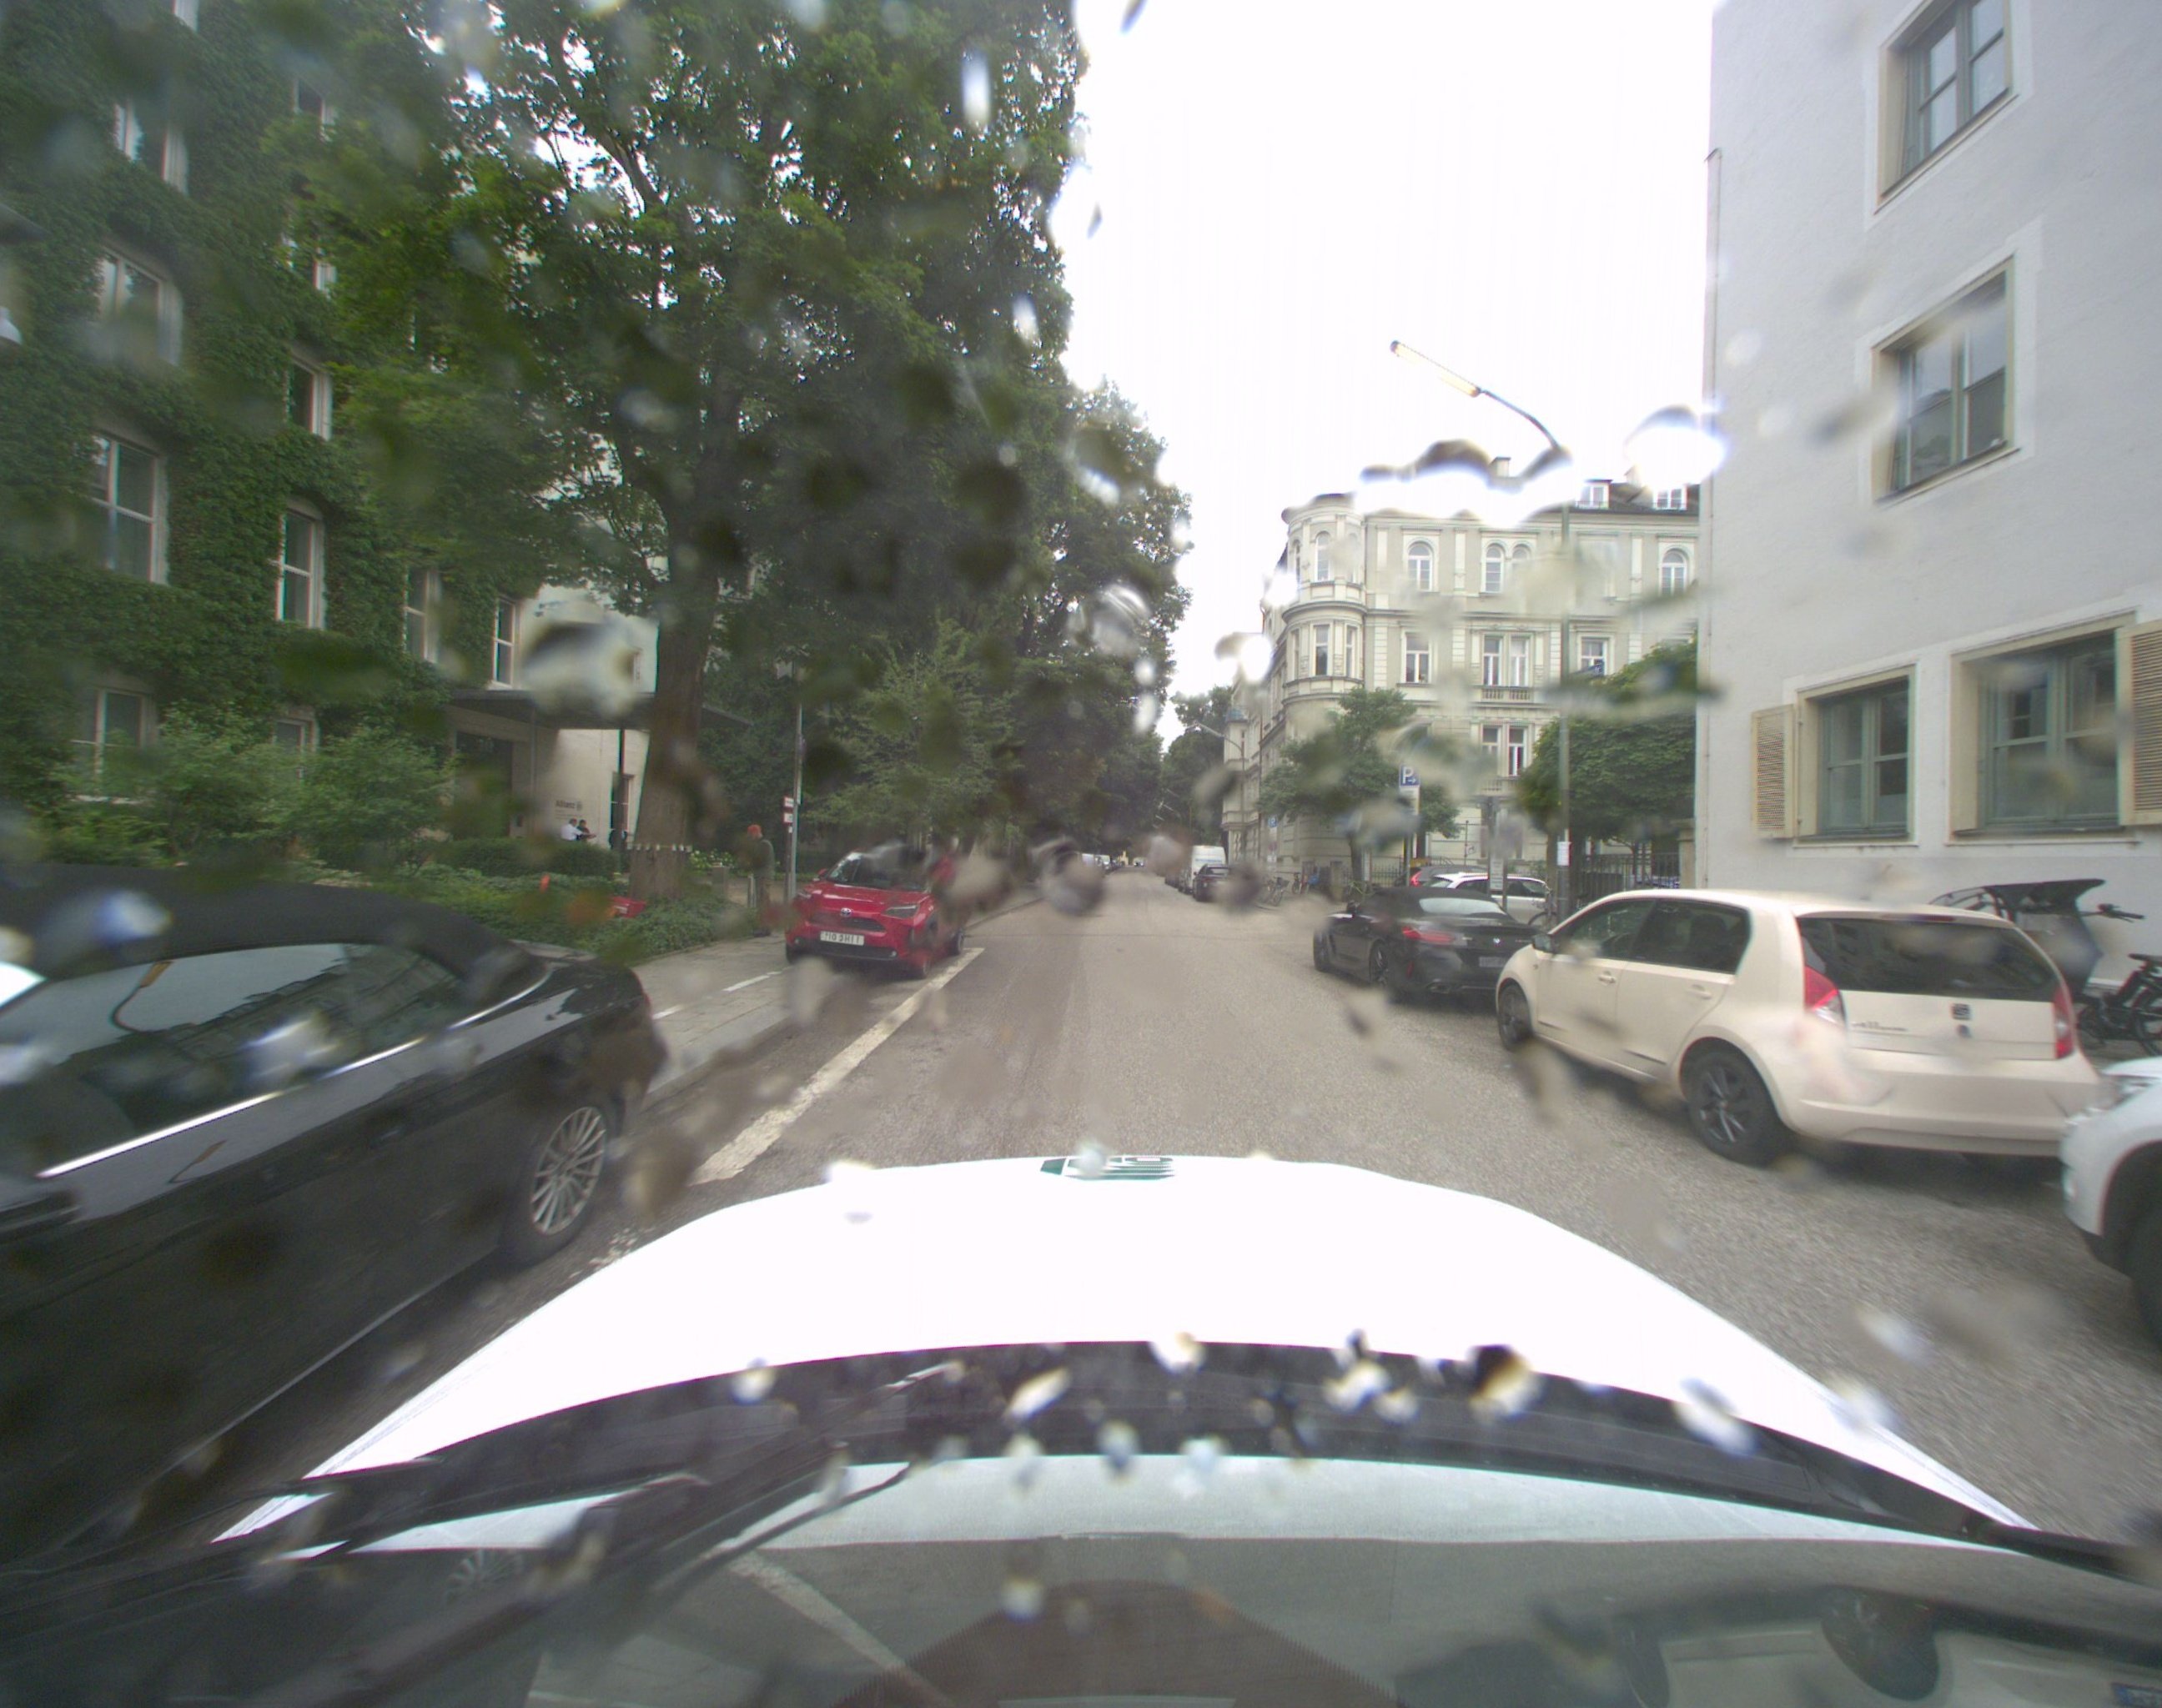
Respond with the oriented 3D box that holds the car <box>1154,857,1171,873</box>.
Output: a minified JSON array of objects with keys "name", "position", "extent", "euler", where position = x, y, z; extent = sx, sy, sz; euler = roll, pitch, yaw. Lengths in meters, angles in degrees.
[{"name":"car","position":[10.164,1.364,101.858],"extent":[1.984,2.014,4.006],"euler":[1,0,5]}]

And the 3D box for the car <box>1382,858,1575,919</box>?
[{"name":"car","position":[12.086,1.087,25.024],"extent":[5.020,1.653,1.943],"euler":[2,-4,0]}]

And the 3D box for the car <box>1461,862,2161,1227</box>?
[{"name":"car","position":[4.408,0.919,5.742],"extent":[1.763,1.546,3.714],"euler":[6,0,3]}]

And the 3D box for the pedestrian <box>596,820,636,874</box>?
[{"name":"pedestrian","position":[-15.506,-0.221,27.168],"extent":[0.748,1.753,0.900],"euler":[1,-2,-2]}]

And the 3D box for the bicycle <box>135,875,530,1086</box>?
[{"name":"bicycle","position":[-4.939,0.740,5.635],"extent":[0.646,1.130,2.051],"euler":[1,0,7]}]

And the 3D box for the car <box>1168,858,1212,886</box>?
[{"name":"car","position":[6.437,1.061,48.535],"extent":[2.130,1.630,4.317],"euler":[0,-1,2]}]

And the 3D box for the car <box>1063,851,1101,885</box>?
[{"name":"car","position":[0.081,0.854,51.557],"extent":[2.176,1.956,5.166],"euler":[3,0,0]}]

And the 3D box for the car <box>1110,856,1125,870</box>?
[{"name":"car","position":[5.552,1.370,124.537],"extent":[2.040,2.154,4.313],"euler":[3,0,0]}]

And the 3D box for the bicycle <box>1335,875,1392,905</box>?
[{"name":"bicycle","position":[10.391,1.322,29.988],"extent":[1.913,1.028,0.558],"euler":[1,0,5]}]

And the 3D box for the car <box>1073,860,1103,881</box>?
[{"name":"car","position":[0.561,1.253,62.960],"extent":[2.061,1.519,4.240],"euler":[3,0,3]}]

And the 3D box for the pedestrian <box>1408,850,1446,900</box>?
[{"name":"pedestrian","position":[11.949,0.720,28.150],"extent":[0.968,1.689,0.860],"euler":[0,-1,2]}]

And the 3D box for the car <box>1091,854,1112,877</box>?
[{"name":"car","position":[2.174,1.162,84.526],"extent":[1.994,2.186,4.698],"euler":[3,0,2]}]

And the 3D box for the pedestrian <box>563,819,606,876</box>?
[{"name":"pedestrian","position":[-15.703,-0.191,25.764],"extent":[0.748,1.753,0.900],"euler":[1,-2,-2]}]

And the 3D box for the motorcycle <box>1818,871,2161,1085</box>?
[{"name":"motorcycle","position":[7.874,0.888,6.859],"extent":[0.854,1.433,2.706],"euler":[1,0,-1]}]

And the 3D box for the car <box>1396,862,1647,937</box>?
[{"name":"car","position":[10.277,1.044,19.258],"extent":[4.889,1.531,1.913],"euler":[1,2,0]}]

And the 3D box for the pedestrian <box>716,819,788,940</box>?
[{"name":"pedestrian","position":[-5.253,0.394,13.047],"extent":[0.710,1.852,0.797],"euler":[3,-1,1]}]

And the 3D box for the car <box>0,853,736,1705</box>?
[{"name":"car","position":[-2.755,0.733,1.972],"extent":[1.802,1.402,4.920],"euler":[3,0,-2]}]

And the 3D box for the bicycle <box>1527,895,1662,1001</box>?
[{"name":"bicycle","position":[6.195,1.088,9.960],"extent":[0.659,1.063,1.943],"euler":[1,0,8]}]

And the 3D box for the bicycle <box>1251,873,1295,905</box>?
[{"name":"bicycle","position":[6.873,1.227,29.219],"extent":[0.654,1.028,2.193],"euler":[1,1,-12]}]

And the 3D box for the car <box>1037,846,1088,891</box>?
[{"name":"car","position":[-0.805,0.699,39.855],"extent":[2.240,1.956,5.453],"euler":[3,0,0]}]

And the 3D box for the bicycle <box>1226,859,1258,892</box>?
[{"name":"bicycle","position":[7.704,1.031,39.126],"extent":[0.708,1.515,2.029],"euler":[1,0,-14]}]

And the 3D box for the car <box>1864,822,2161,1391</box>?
[{"name":"car","position":[4.245,0.803,1.122],"extent":[1.986,1.707,4.535],"euler":[3,0,1]}]

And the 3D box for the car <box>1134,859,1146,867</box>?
[{"name":"car","position":[12.930,2.017,179.150],"extent":[1.979,1.783,4.015],"euler":[1,0,14]}]

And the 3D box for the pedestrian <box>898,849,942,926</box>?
[{"name":"pedestrian","position":[-3.378,0.698,17.173],"extent":[0.712,1.548,0.752],"euler":[3,-1,-3]}]

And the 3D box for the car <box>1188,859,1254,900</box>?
[{"name":"car","position":[5.532,0.975,32.740],"extent":[2.262,1.546,4.593],"euler":[0,-1,5]}]

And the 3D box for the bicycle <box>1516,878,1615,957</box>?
[{"name":"bicycle","position":[8.217,1.041,13.898],"extent":[0.541,1.225,1.774],"euler":[1,-1,-4]}]

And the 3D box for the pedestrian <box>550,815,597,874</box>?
[{"name":"pedestrian","position":[-15.507,-0.276,24.892],"extent":[0.895,1.753,0.752],"euler":[1,-1,0]}]

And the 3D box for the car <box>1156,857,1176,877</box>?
[{"name":"car","position":[8.587,1.296,82.706],"extent":[1.984,1.975,4.006],"euler":[1,0,5]}]

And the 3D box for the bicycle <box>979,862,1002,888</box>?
[{"name":"bicycle","position":[-4.003,0.914,36.264],"extent":[0.630,1.102,1.769],"euler":[2,-1,5]}]

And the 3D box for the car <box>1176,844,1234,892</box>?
[{"name":"car","position":[5.961,0.683,39.702],"extent":[2.195,2.208,4.856],"euler":[0,-1,2]}]

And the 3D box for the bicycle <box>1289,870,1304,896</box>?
[{"name":"bicycle","position":[9.227,1.229,34.919],"extent":[0.542,1.060,1.756],"euler":[1,0,12]}]

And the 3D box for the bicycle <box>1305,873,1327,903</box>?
[{"name":"bicycle","position":[9.036,1.289,31.366],"extent":[0.428,1.028,1.893],"euler":[1,1,5]}]

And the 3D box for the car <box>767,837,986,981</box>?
[{"name":"car","position":[-2.639,0.654,11.709],"extent":[1.881,1.590,4.528],"euler":[3,0,1]}]

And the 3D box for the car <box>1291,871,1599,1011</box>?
[{"name":"car","position":[4.315,0.940,10.621],"extent":[1.993,1.319,4.595],"euler":[-1,0,1]}]
